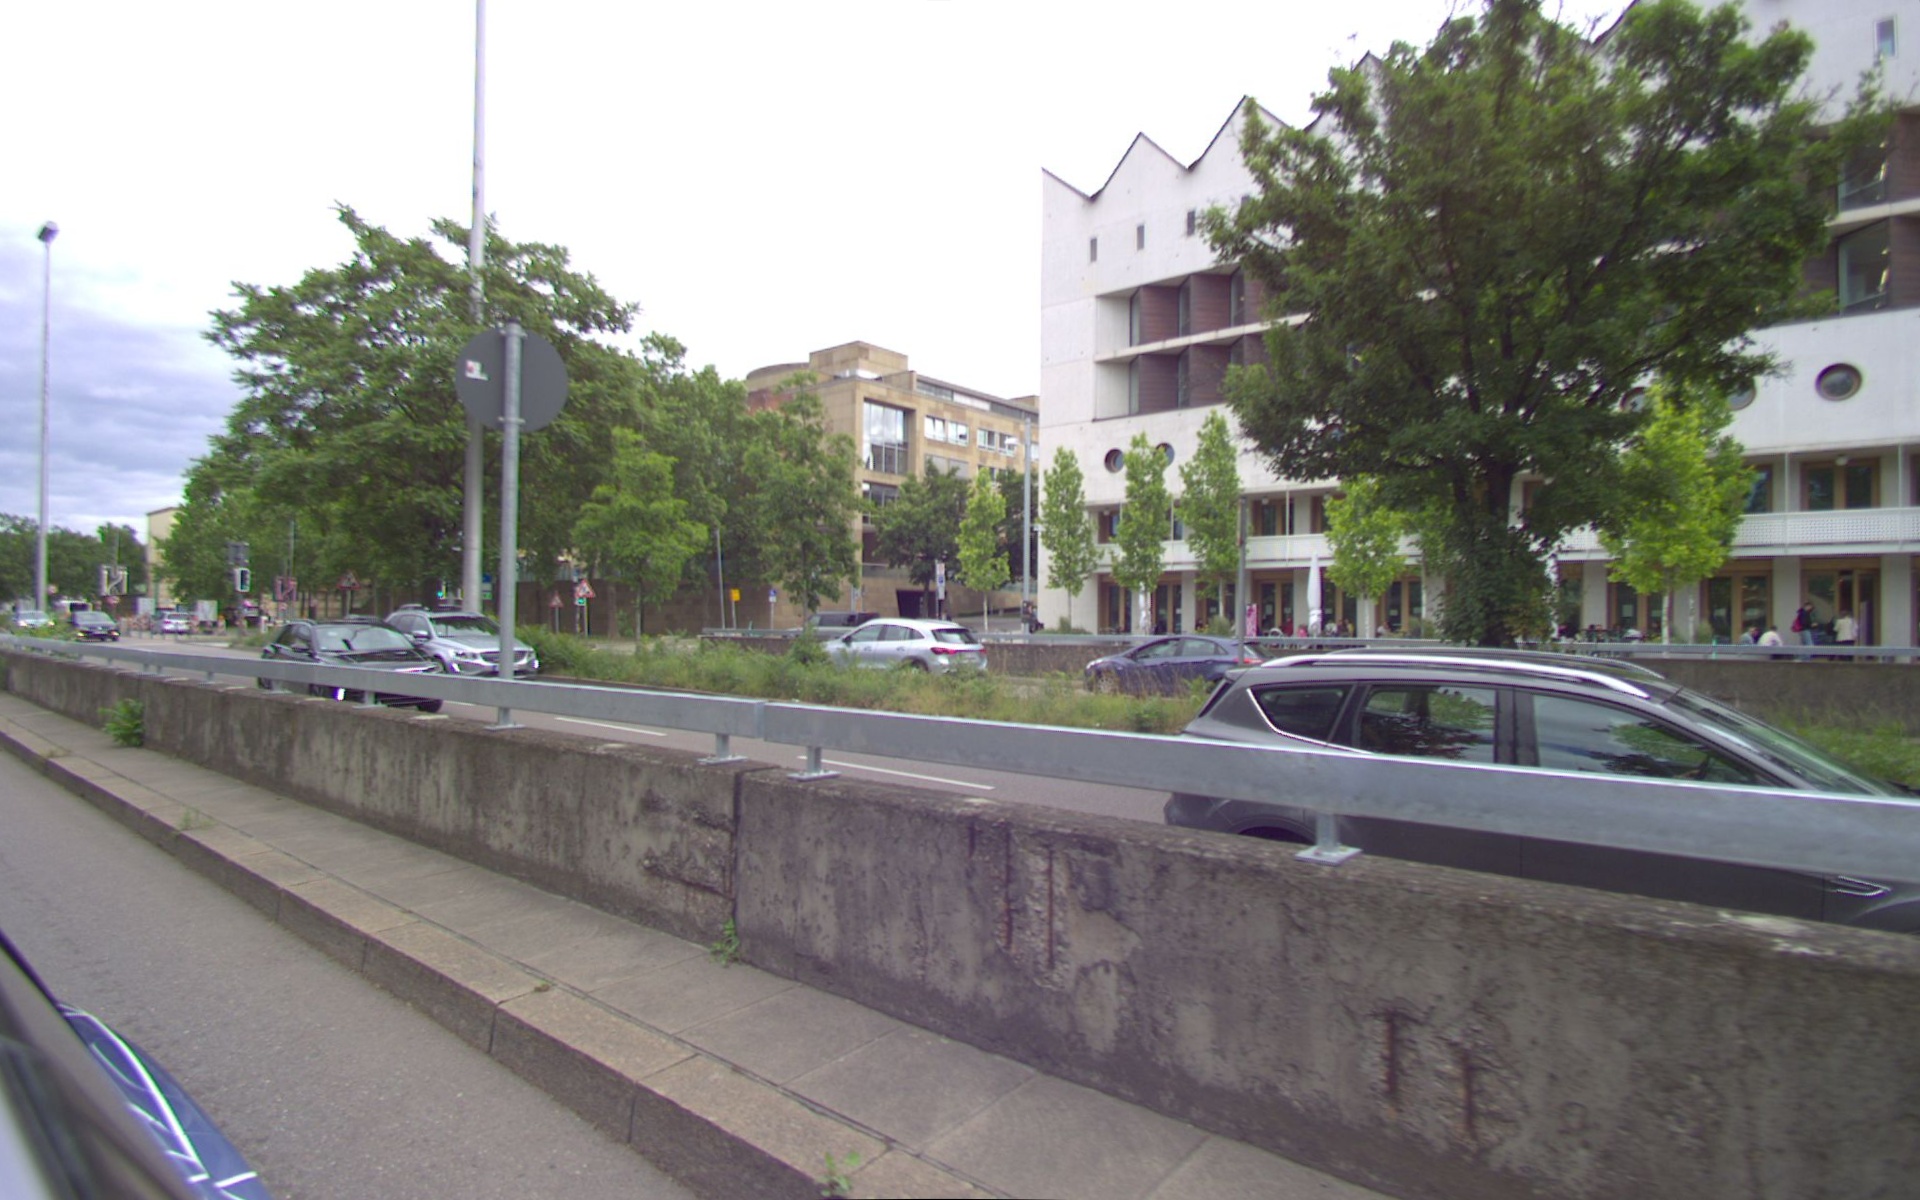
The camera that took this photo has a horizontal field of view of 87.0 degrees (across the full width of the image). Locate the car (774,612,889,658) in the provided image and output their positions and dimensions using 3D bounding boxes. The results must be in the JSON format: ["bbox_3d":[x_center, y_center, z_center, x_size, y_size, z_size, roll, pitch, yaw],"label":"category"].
[{"bbox_3d":[-5.043,1.380,39.526,4.382,1.730,1.841,-2,-3,35],"label":"car"}]

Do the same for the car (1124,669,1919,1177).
[{"bbox_3d":[3.344,1.276,5.046,4.653,1.728,1.875,-3,-2,39],"label":"car"}]

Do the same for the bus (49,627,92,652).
[{"bbox_3d":[-120.557,5.325,137.140,10.441,3.330,2.882,-2,-2,40],"label":"bus"}]

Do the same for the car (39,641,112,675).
[{"bbox_3d":[-42.932,2.788,49.103,4.805,1.494,1.973,-2,-2,40],"label":"car"}]

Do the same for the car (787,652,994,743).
[{"bbox_3d":[-1.574,2.010,21.803,4.442,1.730,1.838,-2,-3,40],"label":"car"}]

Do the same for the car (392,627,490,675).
[{"bbox_3d":[-19.690,1.924,38.333,4.444,1.730,1.837,-2,-3,42],"label":"car"}]

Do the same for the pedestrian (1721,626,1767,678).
[{"bbox_3d":[24.237,1.599,31.297,0.899,1.535,0.634,4,-3,-1],"label":"pedestrian"}]

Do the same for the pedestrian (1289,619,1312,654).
[{"bbox_3d":[13.930,1.508,41.392,0.639,1.337,0.636,5,-7,-21],"label":"pedestrian"}]

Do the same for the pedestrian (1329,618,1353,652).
[{"bbox_3d":[15.743,1.441,41.790,0.639,1.337,0.636,4,-7,-23],"label":"pedestrian"}]

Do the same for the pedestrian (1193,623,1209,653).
[{"bbox_3d":[11.112,1.742,46.631,0.565,1.337,0.513,-1,-2,41],"label":"pedestrian"}]

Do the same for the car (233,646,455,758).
[{"bbox_3d":[-10.239,1.574,16.710,4.146,1.527,1.746,-1,-1,37],"label":"car"}]

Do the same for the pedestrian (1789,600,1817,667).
[{"bbox_3d":[26.418,1.043,31.735,0.630,2.028,0.626,-1,-10,41],"label":"pedestrian"}]

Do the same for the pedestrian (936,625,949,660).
[{"bbox_3d":[-0.801,1.908,45.800,0.589,1.569,0.883,0,-2,-1],"label":"pedestrian"}]

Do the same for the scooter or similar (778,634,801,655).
[{"bbox_3d":[-10.859,2.829,64.403,0.537,1.351,1.400,-2,-2,41],"label":"scooter or similar"}]

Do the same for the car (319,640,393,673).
[{"bbox_3d":[-29.636,2.741,49.597,3.994,1.472,1.739,-1,0,38],"label":"car"}]

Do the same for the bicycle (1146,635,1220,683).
[{"bbox_3d":[8.356,2.156,37.711,1.182,1.697,3.576,-3,-3,39],"label":"bicycle"}]

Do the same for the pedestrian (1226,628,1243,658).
[{"bbox_3d":[12.313,1.919,45.413,0.565,1.337,0.513,-1,-2,41],"label":"pedestrian"}]

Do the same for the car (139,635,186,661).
[{"bbox_3d":[-55.570,3.330,70.467,3.996,1.669,1.738,-1,0,39],"label":"car"}]

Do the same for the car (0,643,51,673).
[{"bbox_3d":[-55.198,3.398,59.600,3.997,1.658,1.973,-3,-2,41],"label":"car"}]

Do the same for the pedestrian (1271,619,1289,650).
[{"bbox_3d":[13.888,1.482,43.922,0.565,1.337,0.513,-1,-2,41],"label":"pedestrian"}]

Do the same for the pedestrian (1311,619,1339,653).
[{"bbox_3d":[14.770,1.455,40.978,0.777,1.337,0.672,0,-2,-22],"label":"pedestrian"}]

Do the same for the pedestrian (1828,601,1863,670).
[{"bbox_3d":[27.428,1.105,31.369,0.737,2.028,0.704,-1,-10,37],"label":"pedestrian"}]

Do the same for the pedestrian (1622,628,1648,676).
[{"bbox_3d":[23.230,1.781,34.818,0.630,1.646,0.626,-1,-2,41],"label":"pedestrian"}]

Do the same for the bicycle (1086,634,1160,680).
[{"bbox_3d":[6.325,2.178,39.071,1.182,1.697,3.576,-3,-3,39],"label":"bicycle"}]

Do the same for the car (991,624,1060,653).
[{"bbox_3d":[3.628,2.074,55.576,1.751,1.285,3.946,-1,2,41],"label":"car"}]

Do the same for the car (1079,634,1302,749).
[{"bbox_3d":[4.702,1.764,20.824,3.994,2.029,1.975,-1,0,38],"label":"car"}]

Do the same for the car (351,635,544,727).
[{"bbox_3d":[-10.759,1.585,21.100,4.736,1.629,1.973,-1,-1,41],"label":"car"}]

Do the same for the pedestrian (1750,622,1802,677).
[{"bbox_3d":[24.544,1.495,30.459,0.899,1.534,0.635,5,2,-1],"label":"pedestrian"}]

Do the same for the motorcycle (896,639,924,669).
[{"bbox_3d":[-2.244,2.408,45.413,0.653,1.243,1.879,1,-1,16],"label":"motorcycle"}]

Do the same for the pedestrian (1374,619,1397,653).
[{"bbox_3d":[17.242,1.449,41.010,0.651,1.337,0.625,-2,-2,44],"label":"pedestrian"}]
